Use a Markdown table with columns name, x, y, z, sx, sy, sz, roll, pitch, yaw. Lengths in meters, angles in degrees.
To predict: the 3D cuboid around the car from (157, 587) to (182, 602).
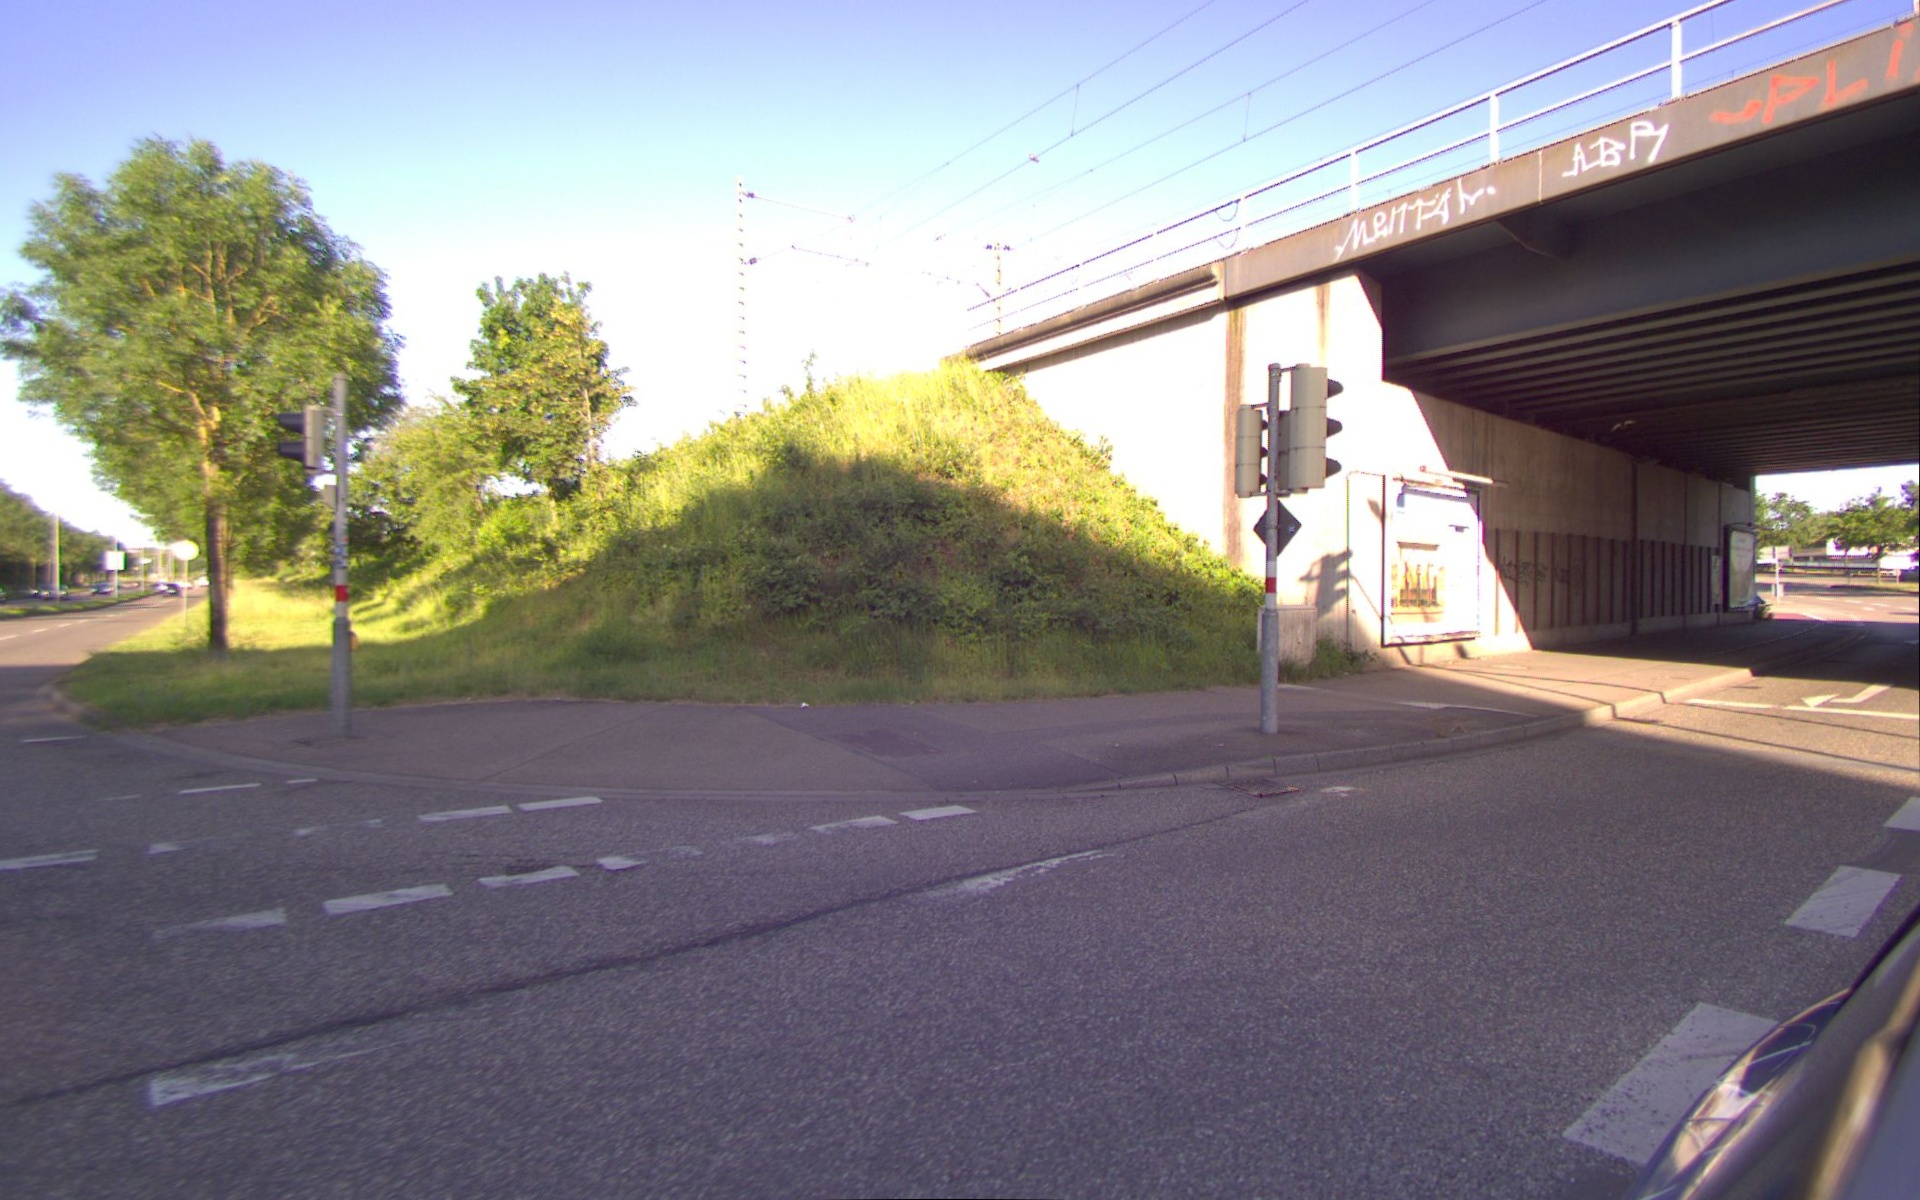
| name | x | y | z | sx | sy | sz | roll | pitch | yaw |
| --- | --- | --- | --- | --- | --- | --- | --- | --- | --- |
| car | -87.001 | -0.626 | 111.382 | 1.793 | 1.533 | 4.564 | -2 | 1 | -34 |

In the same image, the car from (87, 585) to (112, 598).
| name | x | y | z | sx | sy | sz | roll | pitch | yaw |
| --- | --- | --- | --- | --- | --- | --- | --- | --- | --- |
| car | -106.950 | -1.086 | 125.769 | 1.793 | 1.533 | 4.564 | -2 | 1 | -34 |

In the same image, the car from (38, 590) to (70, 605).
| name | x | y | z | sx | sy | sz | roll | pitch | yaw |
| --- | --- | --- | --- | --- | --- | --- | --- | --- | --- |
| car | -92.993 | -0.260 | 103.914 | 1.793 | 1.533 | 4.564 | -2 | 1 | -34 |

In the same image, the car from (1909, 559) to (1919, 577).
| name | x | y | z | sx | sy | sz | roll | pitch | yaw |
| --- | --- | --- | --- | --- | --- | --- | --- | --- | --- |
| car | 82.073 | -2.682 | 85.117 | 1.600 | 1.538 | 3.810 | 0 | 1 | 14 |
